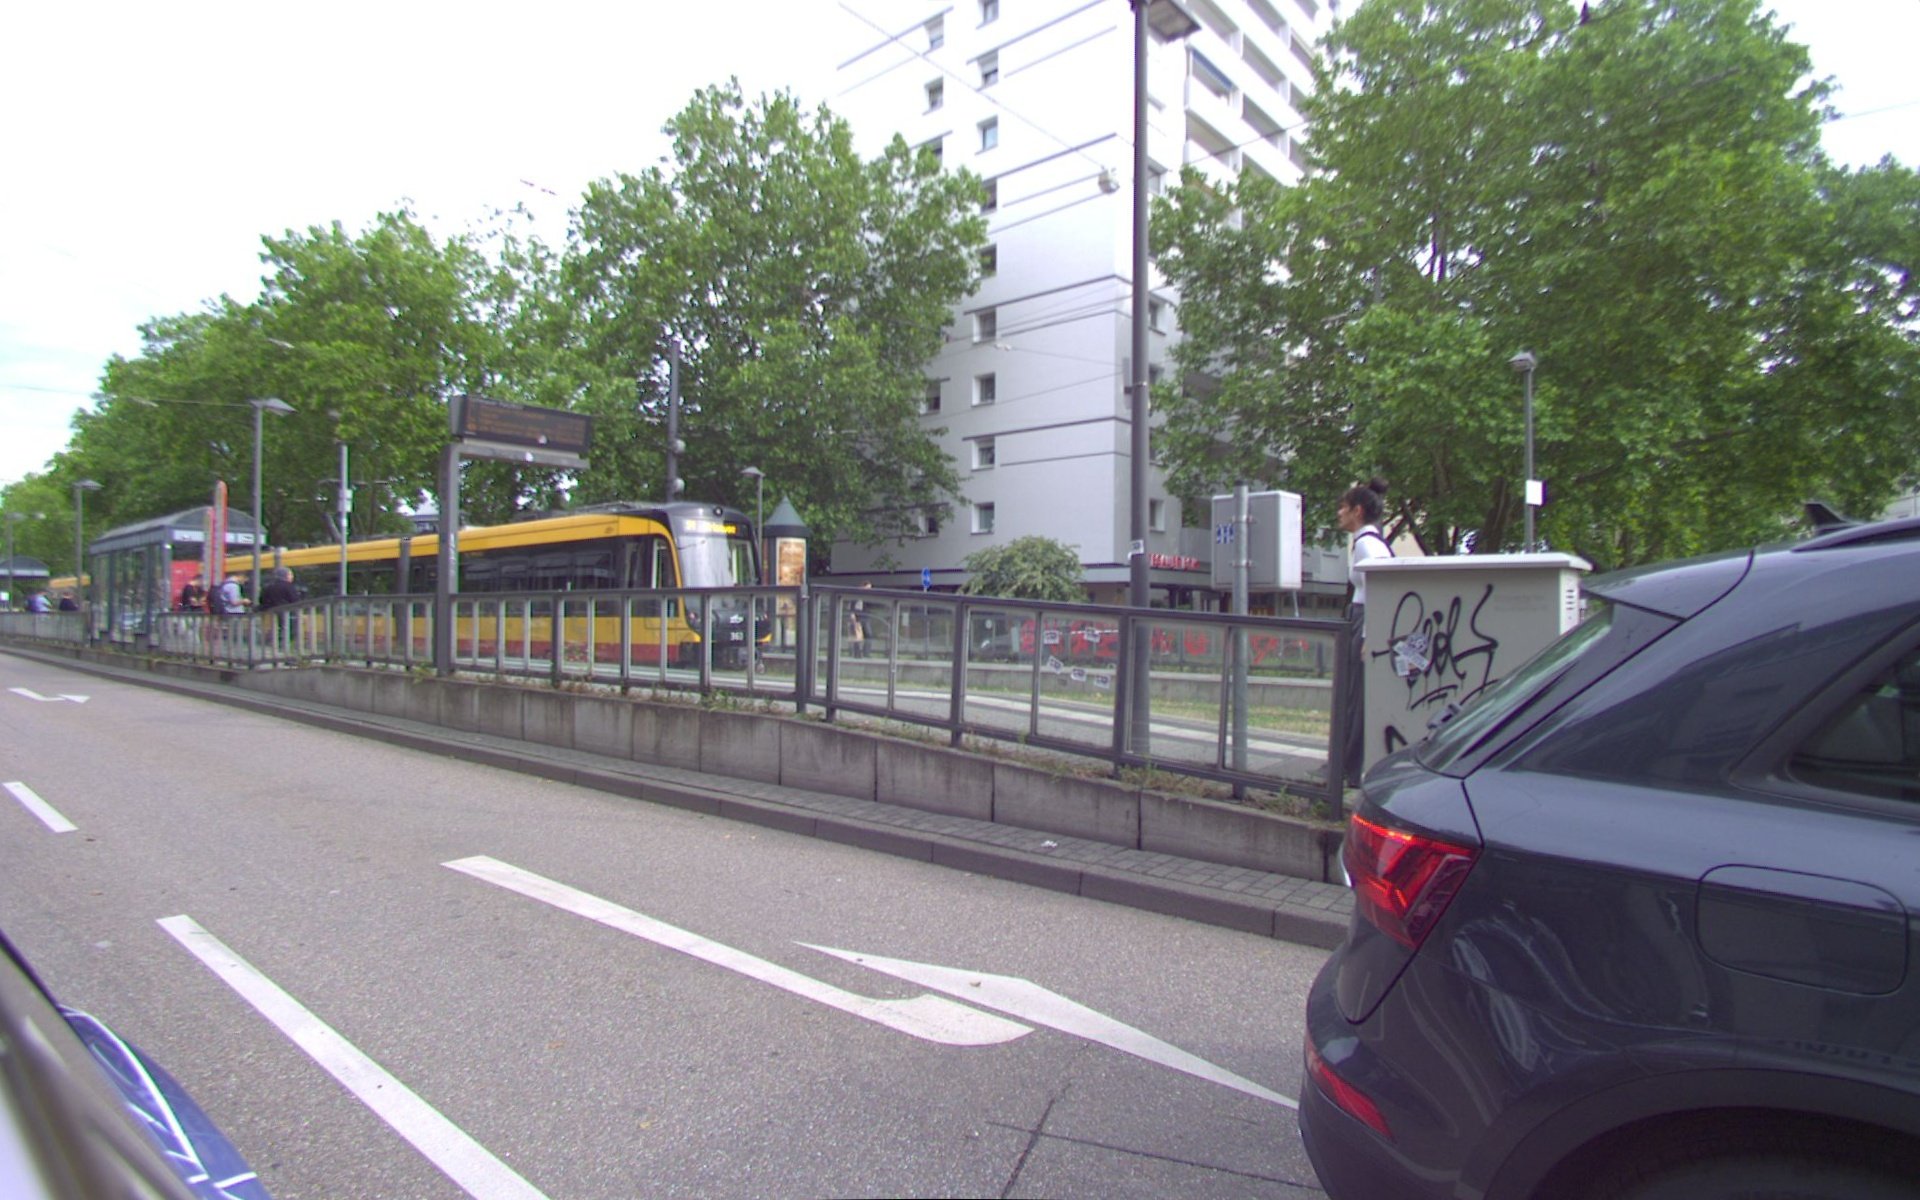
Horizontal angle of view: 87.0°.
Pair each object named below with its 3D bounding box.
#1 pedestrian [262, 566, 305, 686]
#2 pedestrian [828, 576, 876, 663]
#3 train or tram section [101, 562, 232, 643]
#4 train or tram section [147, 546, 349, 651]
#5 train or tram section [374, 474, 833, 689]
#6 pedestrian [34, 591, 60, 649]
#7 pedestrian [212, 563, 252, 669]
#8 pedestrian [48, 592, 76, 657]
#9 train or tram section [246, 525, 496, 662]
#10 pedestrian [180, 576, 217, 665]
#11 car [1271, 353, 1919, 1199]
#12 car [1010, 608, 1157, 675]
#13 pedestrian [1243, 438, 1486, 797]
[{"bbox_3d":[-10.534,0.391,15.756,0.513,1.818,0.606,-1,0,-37],"label":"pedestrian"},{"bbox_3d":[-2.263,0.400,21.214,0.666,1.763,0.728,-1,0,41],"label":"pedestrian"},{"bbox_3d":[-40.794,0.145,51.850,11.039,3.781,3.295,-1,0,41],"label":"train or tram section"},{"bbox_3d":[-30.532,0.013,42.811,16.241,3.781,3.295,-1,0,41],"label":"train or tram section"},{"bbox_3d":[-9.336,-0.261,24.069,15.196,3.781,3.295,-1,0,41],"label":"train or tram section"},{"bbox_3d":[-29.042,0.627,32.199,0.523,1.818,0.607,-1,0,-35],"label":"pedestrian"},{"bbox_3d":[-12.756,0.269,17.731,0.605,1.818,0.469,-1,0,45],"label":"pedestrian"},{"bbox_3d":[-25.573,0.696,28.837,0.523,1.818,0.607,-1,0,-35],"label":"pedestrian"},{"bbox_3d":[-19.729,-0.127,33.267,12.543,3.781,3.295,-1,0,41],"label":"train or tram section"},{"bbox_3d":[-15.930,0.421,21.176,0.467,1.818,0.607,-1,0,-24],"label":"pedestrian"},{"bbox_3d":[2.684,0.511,0.986,4.225,1.649,1.715,-1,0,41],"label":"car"},{"bbox_3d":[2.824,0.907,22.910,3.187,1.439,1.577,0,-1,12],"label":"car"},{"bbox_3d":[2.124,0.084,5.338,0.979,1.683,0.711,-1,0,44],"label":"pedestrian"}]
